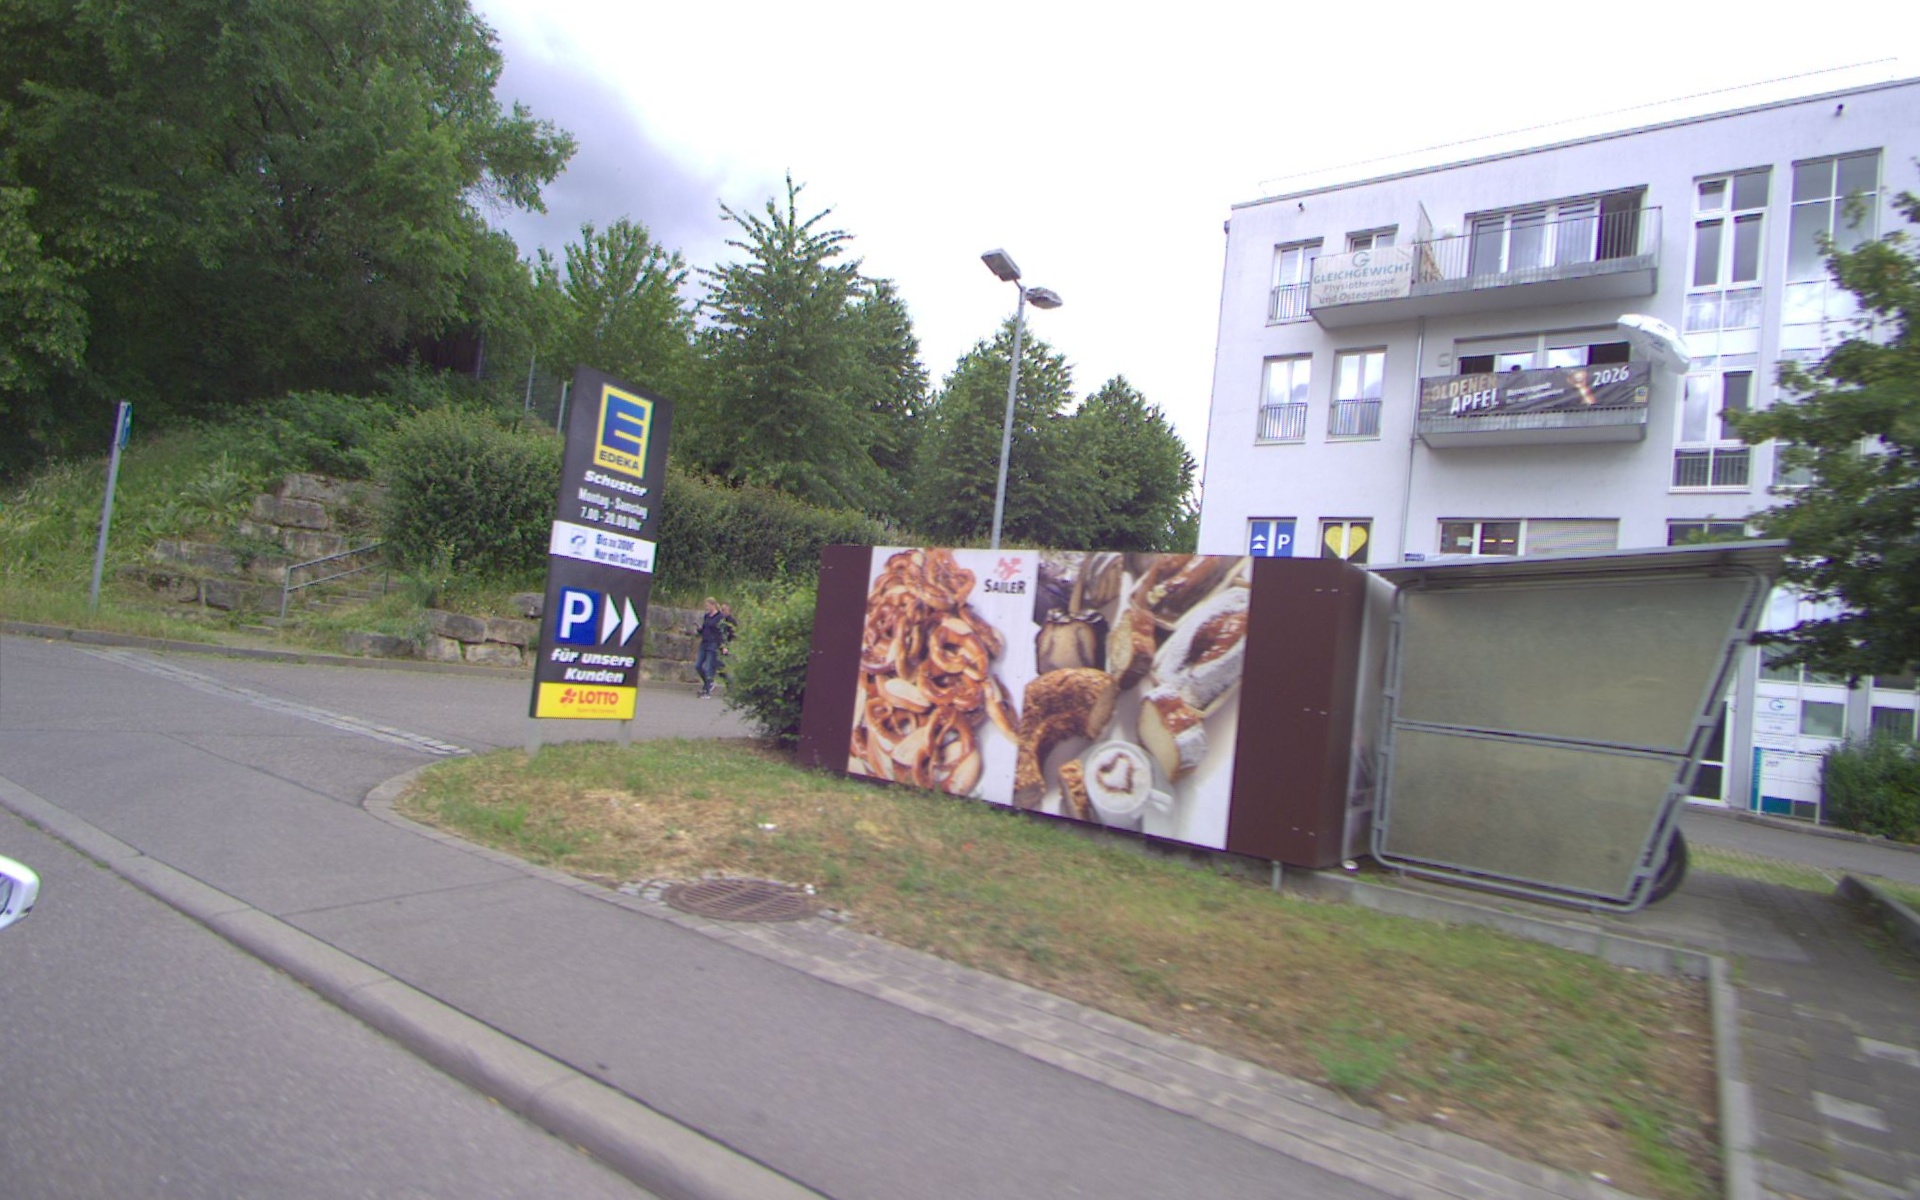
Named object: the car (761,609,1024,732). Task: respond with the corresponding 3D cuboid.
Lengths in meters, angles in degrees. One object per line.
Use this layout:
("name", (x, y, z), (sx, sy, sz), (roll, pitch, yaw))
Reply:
("car", (-0.955, 1.215, 16.371), (1.762, 1.611, 4.240), (4, -4, 39))

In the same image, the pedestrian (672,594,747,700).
("pedestrian", (-4.298, 0.804, 17.259), (0.794, 1.677, 0.731), (6, -1, 39))

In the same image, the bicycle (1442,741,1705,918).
("bicycle", (4.297, 1.569, 7.117), (1.457, 0.885, 0.491), (7, -2, 34))

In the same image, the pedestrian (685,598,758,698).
("pedestrian", (-4.375, 0.885, 18.449), (0.794, 1.709, 0.790), (6, -1, 39))

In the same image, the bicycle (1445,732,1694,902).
("bicycle", (4.738, 1.651, 7.891), (1.529, 0.963, 0.491), (7, -2, 34))
